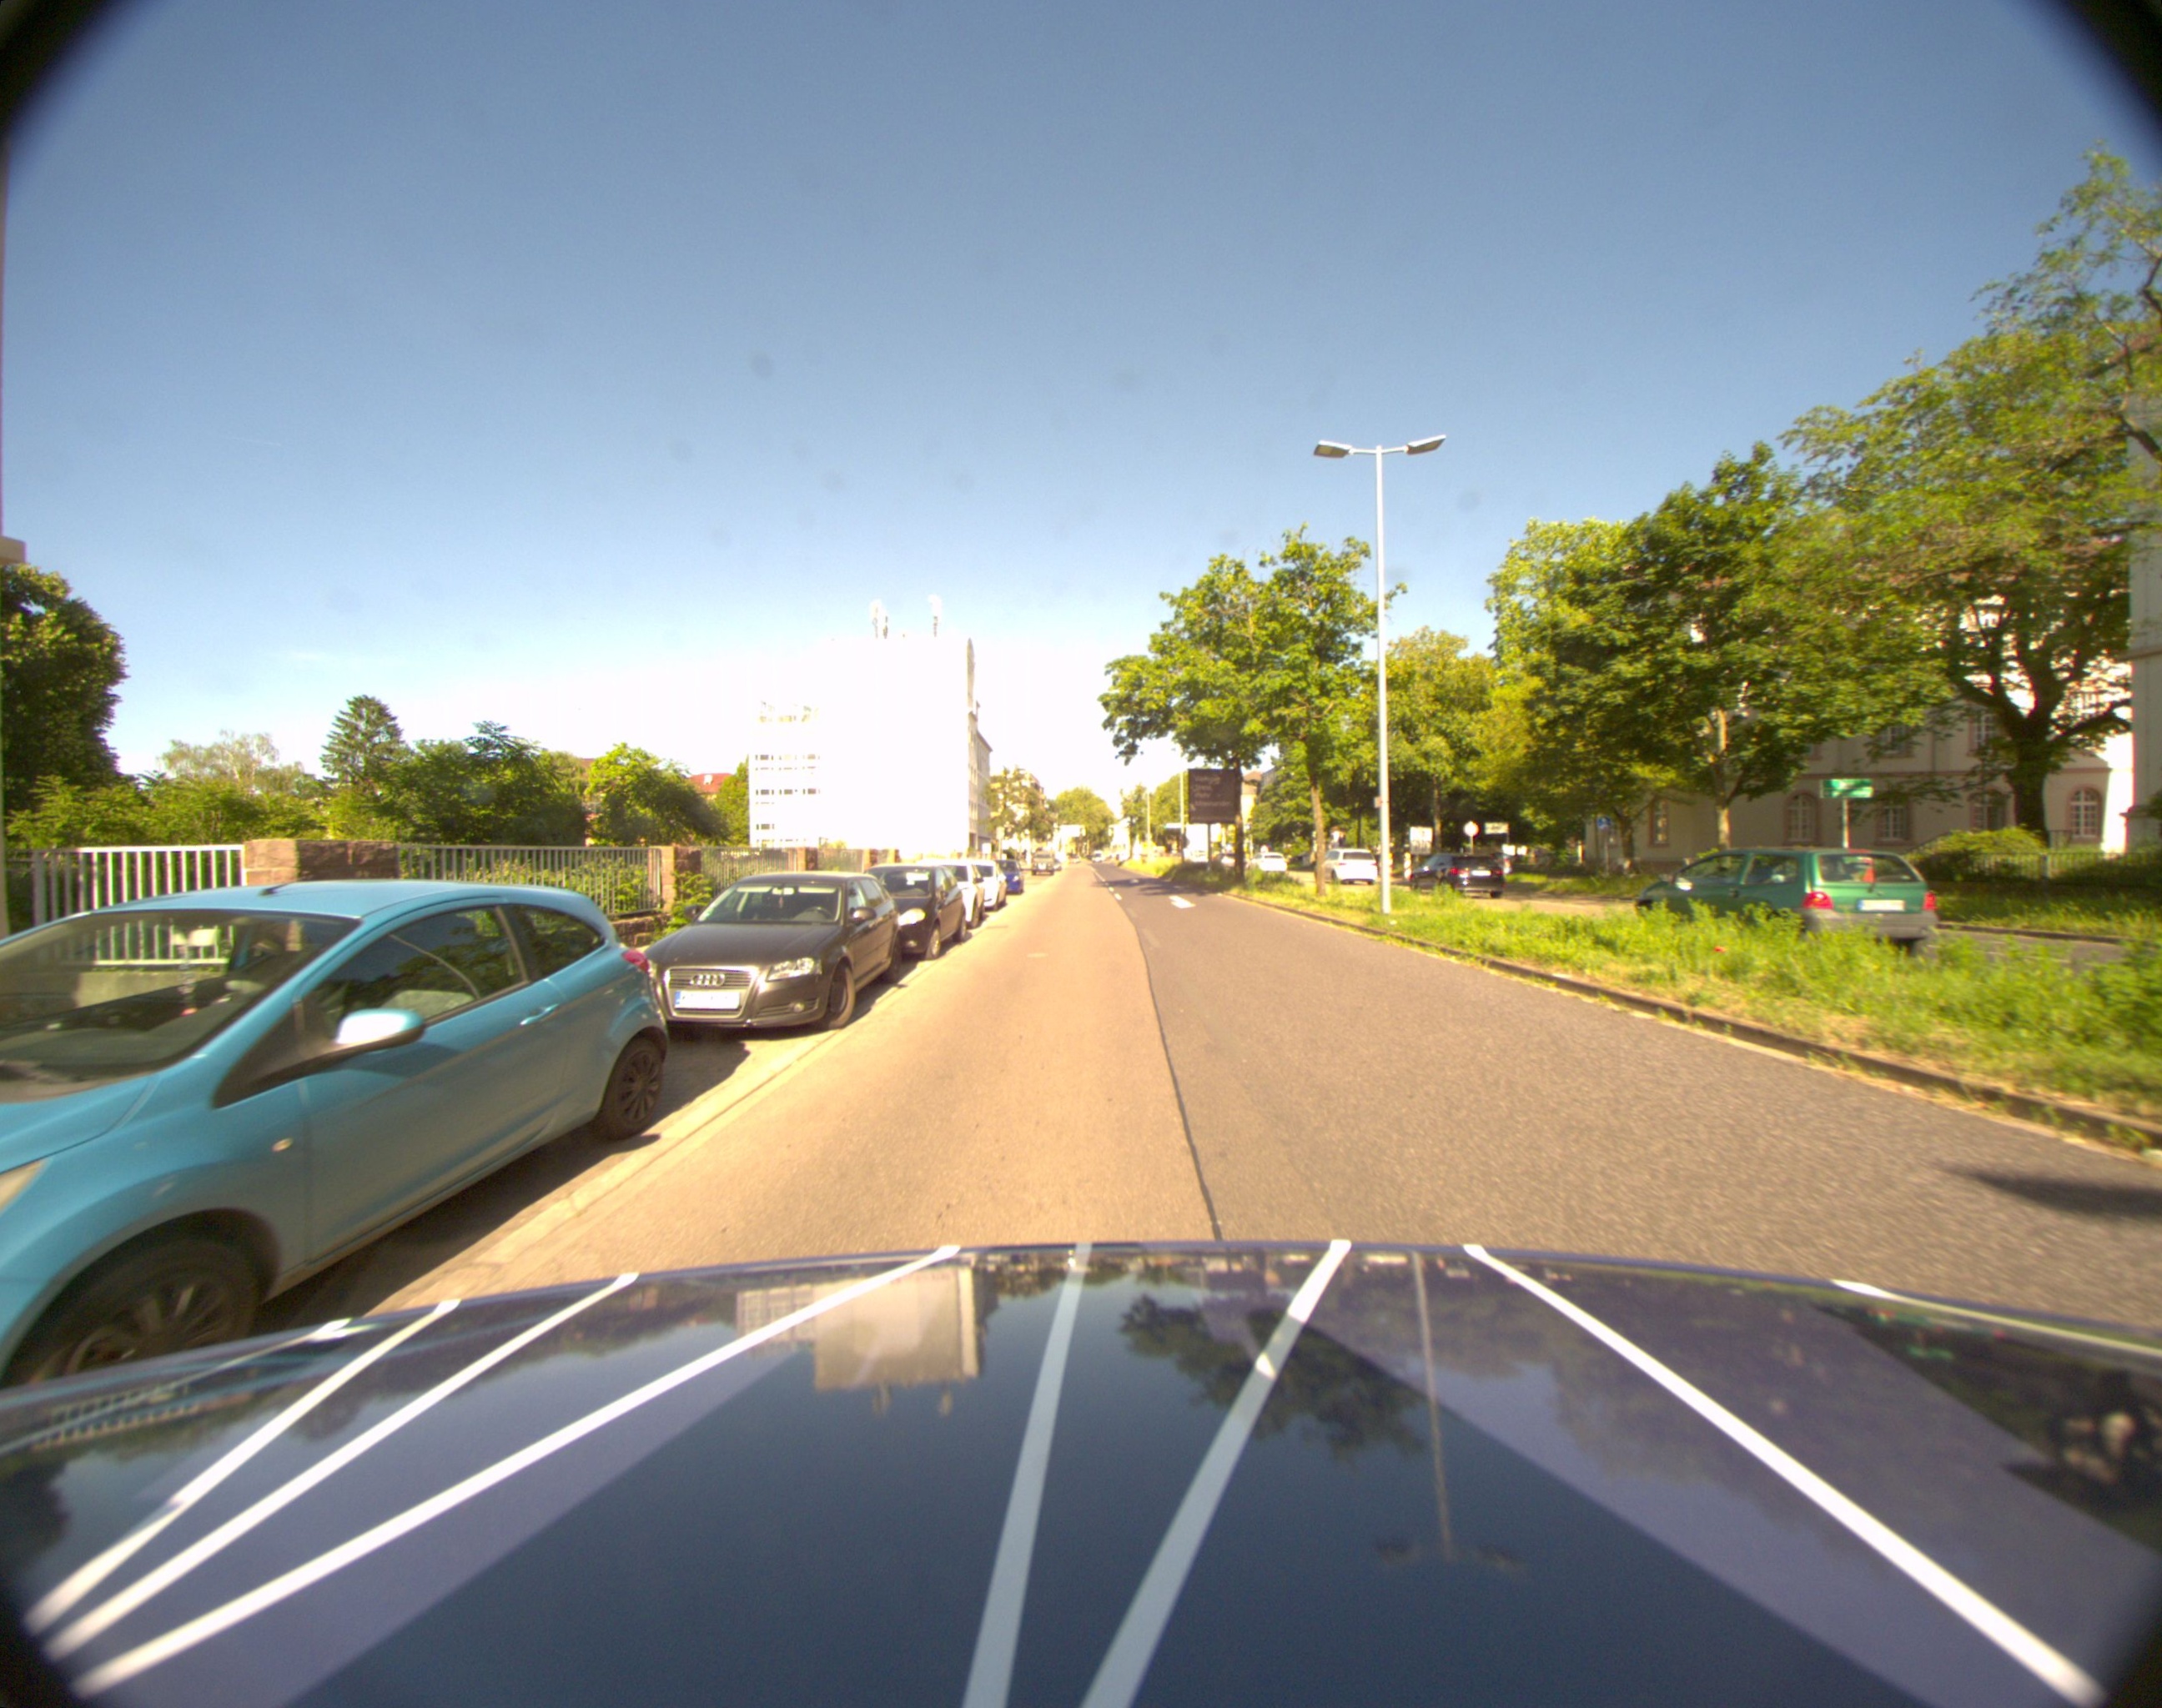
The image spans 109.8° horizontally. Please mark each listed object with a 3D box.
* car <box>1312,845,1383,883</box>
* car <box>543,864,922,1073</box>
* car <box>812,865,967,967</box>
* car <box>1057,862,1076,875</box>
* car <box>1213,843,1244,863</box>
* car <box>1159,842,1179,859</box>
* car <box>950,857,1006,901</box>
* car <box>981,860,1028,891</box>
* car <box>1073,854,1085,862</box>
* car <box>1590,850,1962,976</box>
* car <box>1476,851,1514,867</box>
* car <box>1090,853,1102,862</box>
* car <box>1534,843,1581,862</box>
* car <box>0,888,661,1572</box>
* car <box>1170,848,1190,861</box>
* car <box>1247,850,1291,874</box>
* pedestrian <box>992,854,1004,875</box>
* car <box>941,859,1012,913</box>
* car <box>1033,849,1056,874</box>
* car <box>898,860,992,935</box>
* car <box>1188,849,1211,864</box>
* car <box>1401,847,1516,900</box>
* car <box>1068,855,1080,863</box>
[{"bbox_3d":[12.110,0.398,34.823,1.905,1.616,4.538,0,0,4],"label":"car"},{"bbox_3d":[-3.119,0.901,8.028,1.940,1.510,4.483,-1,0,0],"label":"car"},{"bbox_3d":[-3.034,0.916,12.803,1.672,1.385,3.774,-1,0,0],"label":"car"},{"bbox_3d":[-1.611,1.602,84.374,1.641,1.439,4.158,-1,-1,5],"label":"car"},{"bbox_3d":[12.658,-0.090,65.439,1.800,1.510,4.257,-2,2,1],"label":"car"},{"bbox_3d":[9.754,-0.464,84.752,1.757,1.609,4.320,-2,3,0],"label":"car"},{"bbox_3d":[-3.771,0.894,28.386,1.672,1.451,3.985,2,0,-3],"label":"car"},{"bbox_3d":[-3.243,0.901,32.789,1.672,1.176,3.900,2,0,-1],"label":"car"},{"bbox_3d":[-0.457,0.826,160.489,1.882,1.511,4.000,-2,3,7],"label":"car"},{"bbox_3d":[9.834,0.702,11.320,1.642,1.510,4.257,-1,0,0],"label":"car"},{"bbox_3d":[34.731,0.419,63.827,1.769,1.315,3.504,-1,0,10],"label":"car"},{"bbox_3d":[3.017,0.691,153.753,1.882,1.511,4.000,-2,3,7],"label":"car"},{"bbox_3d":[46.109,-0.199,73.600,1.646,1.484,4.682,-2,4,0],"label":"car"},{"bbox_3d":[-3.330,0.941,2.868,1.626,1.462,3.299,1,0,0],"label":"car"},{"bbox_3d":[12.547,0.065,96.549,1.800,1.510,4.443,-1,1,0],"label":"car"},{"bbox_3d":[12.431,0.484,50.573,1.843,1.510,4.666,-1,0,2],"label":"car"},{"bbox_3d":[-6.325,0.766,57.925,0.745,1.574,0.896,-2,1,0],"label":"pedestrian"},{"bbox_3d":[-3.090,0.909,23.008,1.612,1.437,3.658,2,0,0],"label":"car"},{"bbox_3d":[-2.996,0.558,63.398,1.664,2.002,4.775,0,1,0],"label":"car"},{"bbox_3d":[-3.052,0.923,17.723,1.672,1.510,3.660,-1,0,-3],"label":"car"},{"bbox_3d":[12.701,0.218,81.690,1.800,1.510,4.257,-1,0,0],"label":"car"},{"bbox_3d":[12.072,0.563,24.643,1.800,1.510,4.086,0,1,2],"label":"car"},{"bbox_3d":[-1.381,0.918,151.574,1.882,1.510,4.002,-2,1,7],"label":"car"}]
